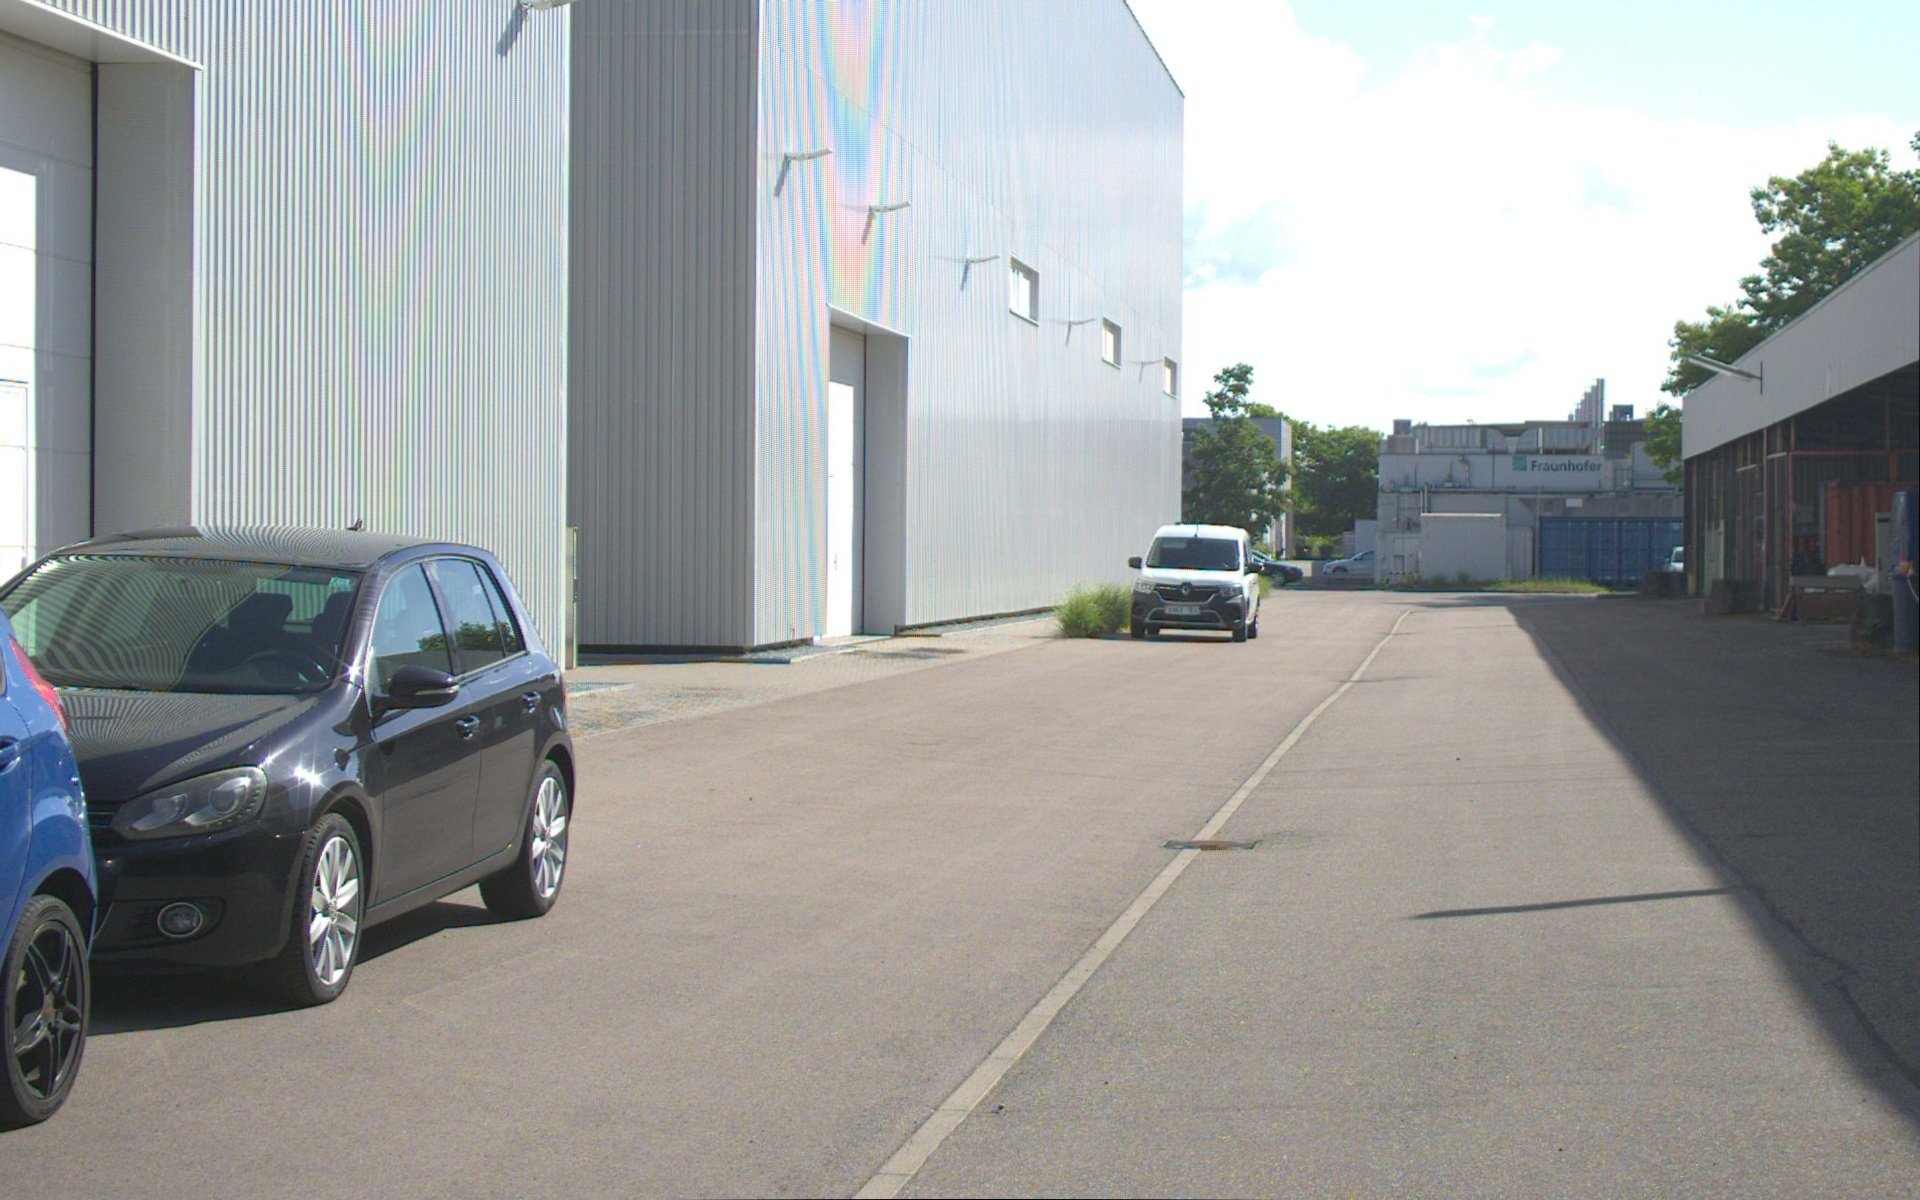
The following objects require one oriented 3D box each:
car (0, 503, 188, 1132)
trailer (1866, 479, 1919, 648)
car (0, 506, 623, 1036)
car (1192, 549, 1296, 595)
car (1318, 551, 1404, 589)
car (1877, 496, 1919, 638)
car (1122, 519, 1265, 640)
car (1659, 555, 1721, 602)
[{"bbox_3d":[-3.184,0.491,7.349,1.631,1.495,4.094,3,1,7],"label":"car"},{"bbox_3d":[14.400,-0.500,49.340,2.524,2.390,1.726,1,0,9],"label":"trailer"},{"bbox_3d":[-2.608,0.451,12.211,1.755,1.495,4.292,3,1,8],"label":"car"},{"bbox_3d":[11.292,-1.104,136.489,3.988,1.592,1.741,2,-1,7],"label":"car"},{"bbox_3d":[19.082,-1.444,163.485,3.988,1.592,1.847,2,-1,7],"label":"car"},{"bbox_3d":[17.813,-0.468,57.701,4.434,2.302,1.915,2,-1,10],"label":"car"},{"bbox_3d":[3.743,-0.350,54.491,1.819,1.781,4.403,2,1,9],"label":"car"},{"bbox_3d":[25.822,-0.777,121.681,1.963,1.559,4.057,2,2,10],"label":"car"}]
